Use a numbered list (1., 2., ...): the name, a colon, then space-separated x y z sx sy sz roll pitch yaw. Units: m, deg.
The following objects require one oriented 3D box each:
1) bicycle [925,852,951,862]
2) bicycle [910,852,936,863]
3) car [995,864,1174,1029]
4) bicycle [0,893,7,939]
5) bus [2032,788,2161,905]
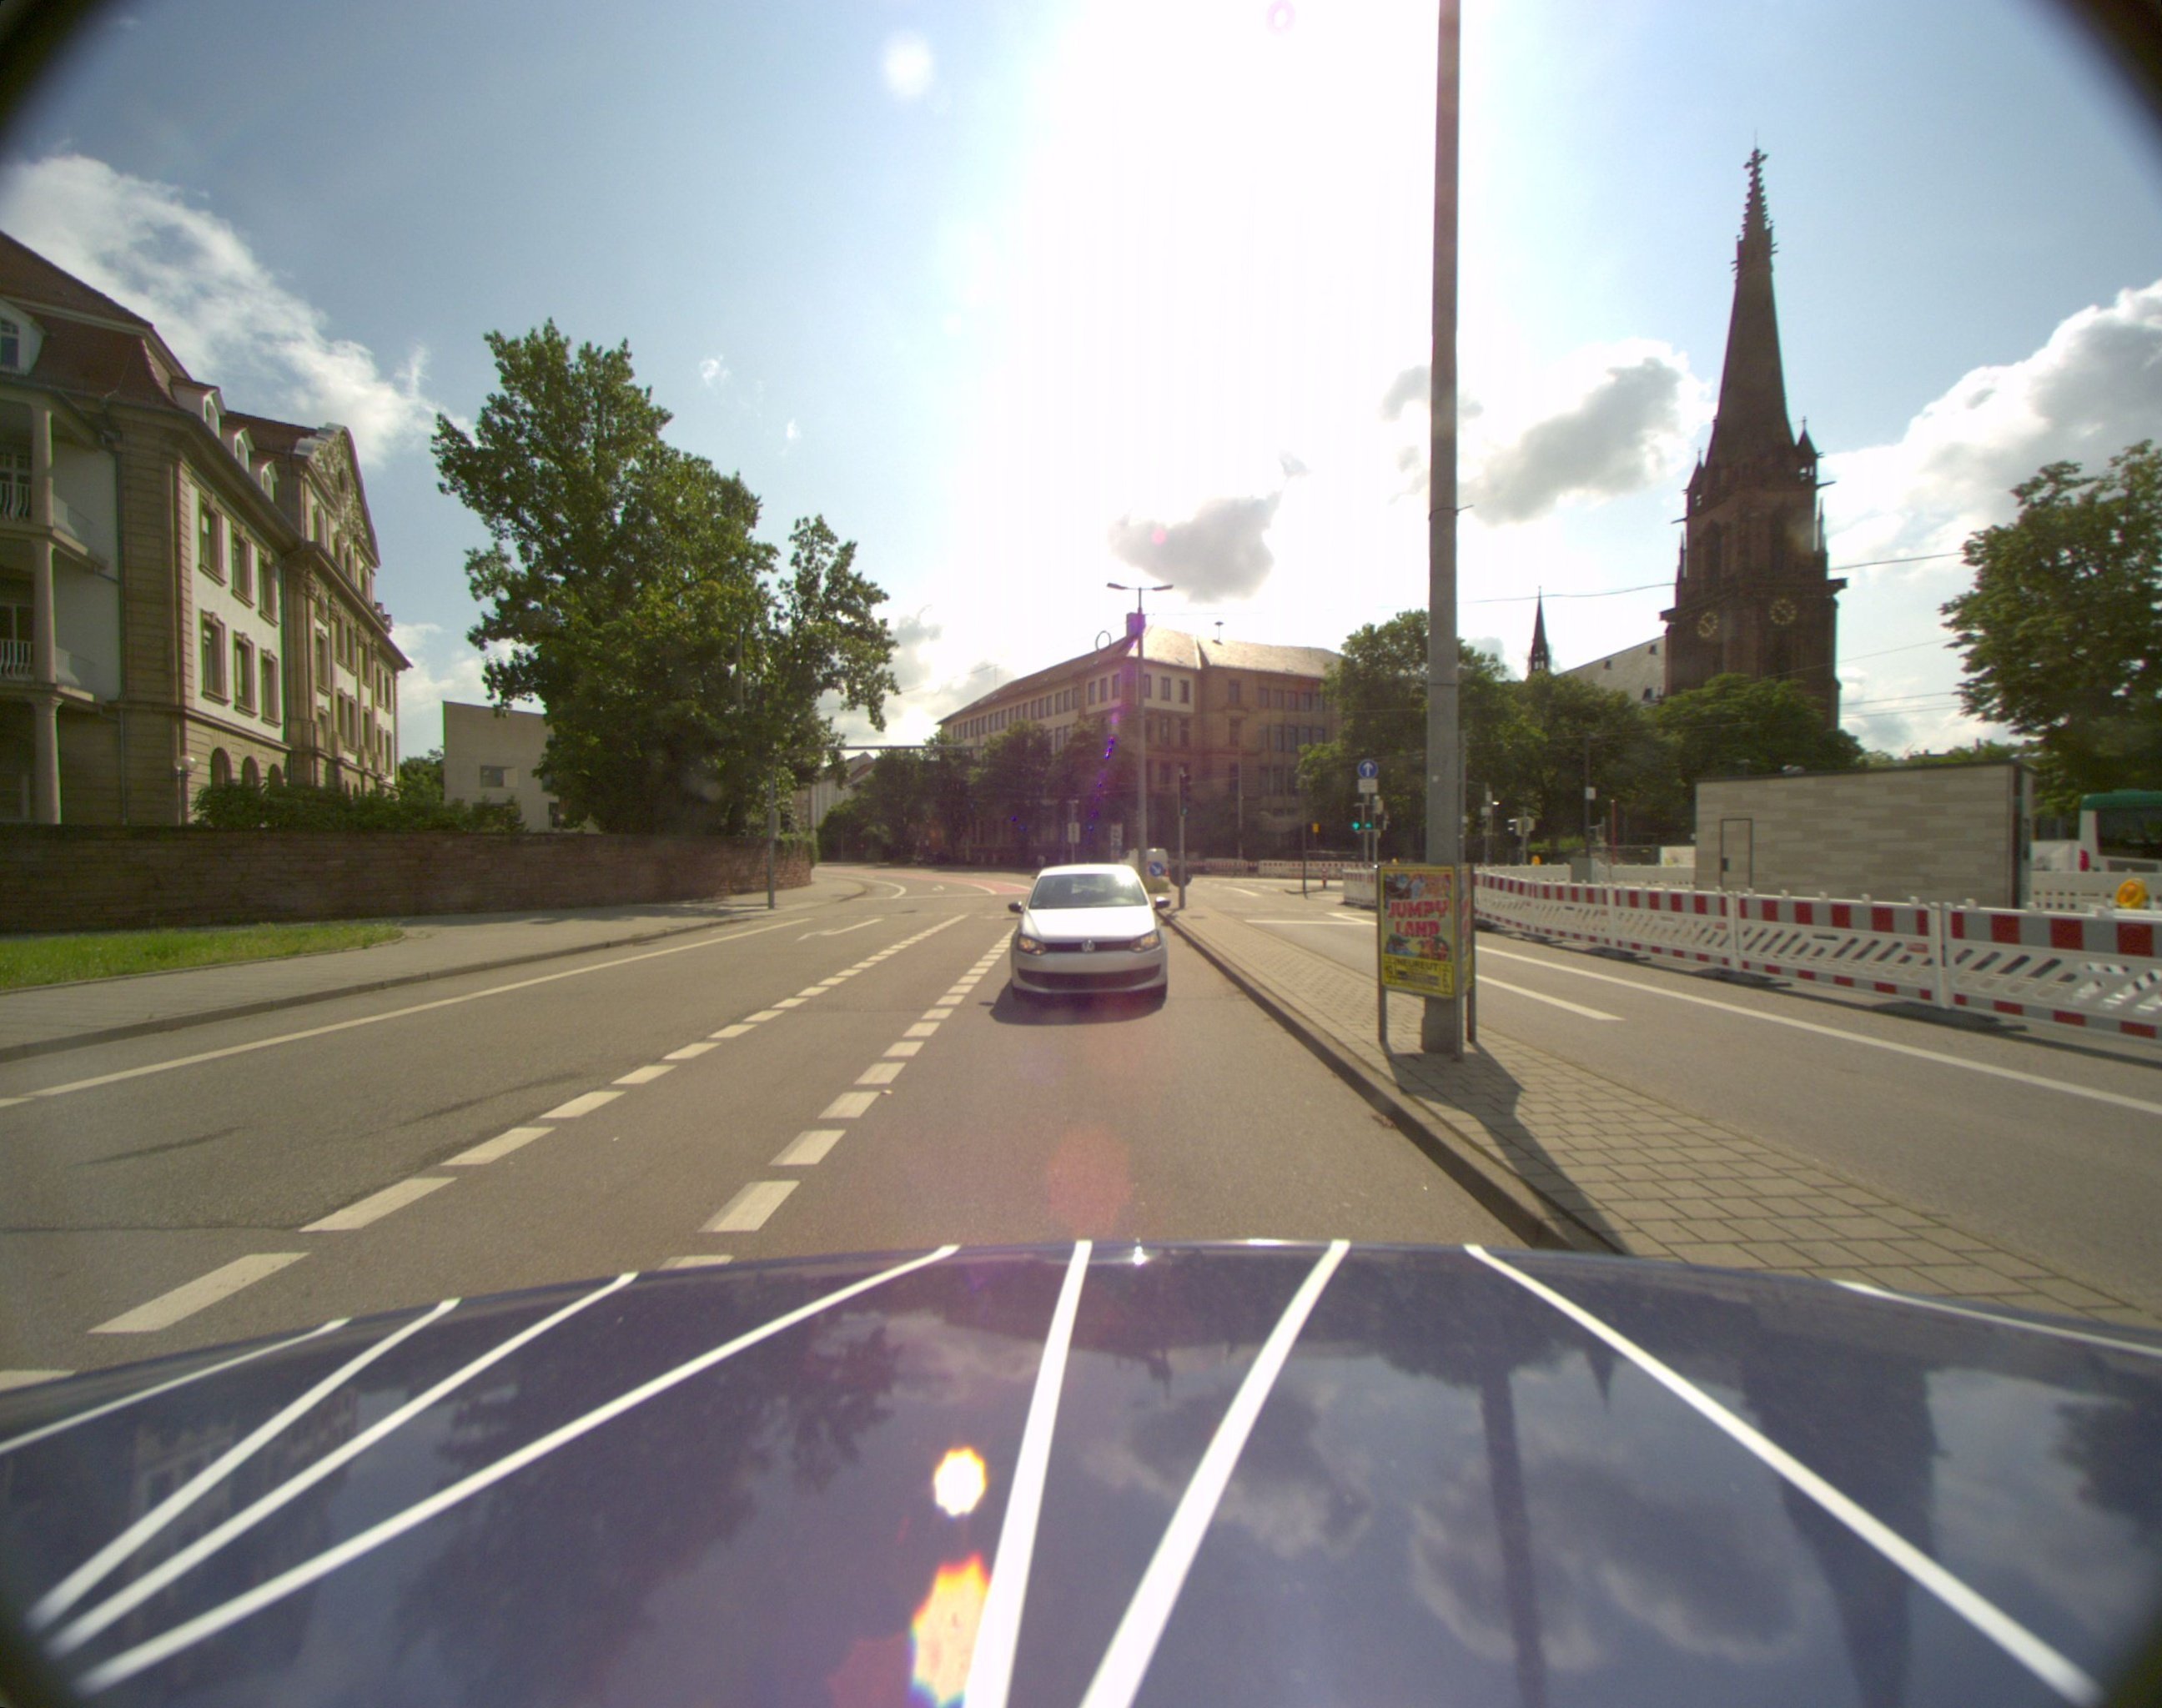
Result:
1. bicycle: -17.488 0.383 93.125 2.891 1.200 1.050 0 4 8
2. bicycle: -19.820 0.438 95.395 2.891 1.200 1.073 0 4 8
3. car: 0.047 0.912 9.279 1.655 1.433 4.004 -2 1 0
4. bicycle: -21.314 1.196 13.736 0.856 0.856 2.065 3 3 45
5. bus: 33.320 -0.194 18.769 2.999 3.243 12.043 0 1 -34
